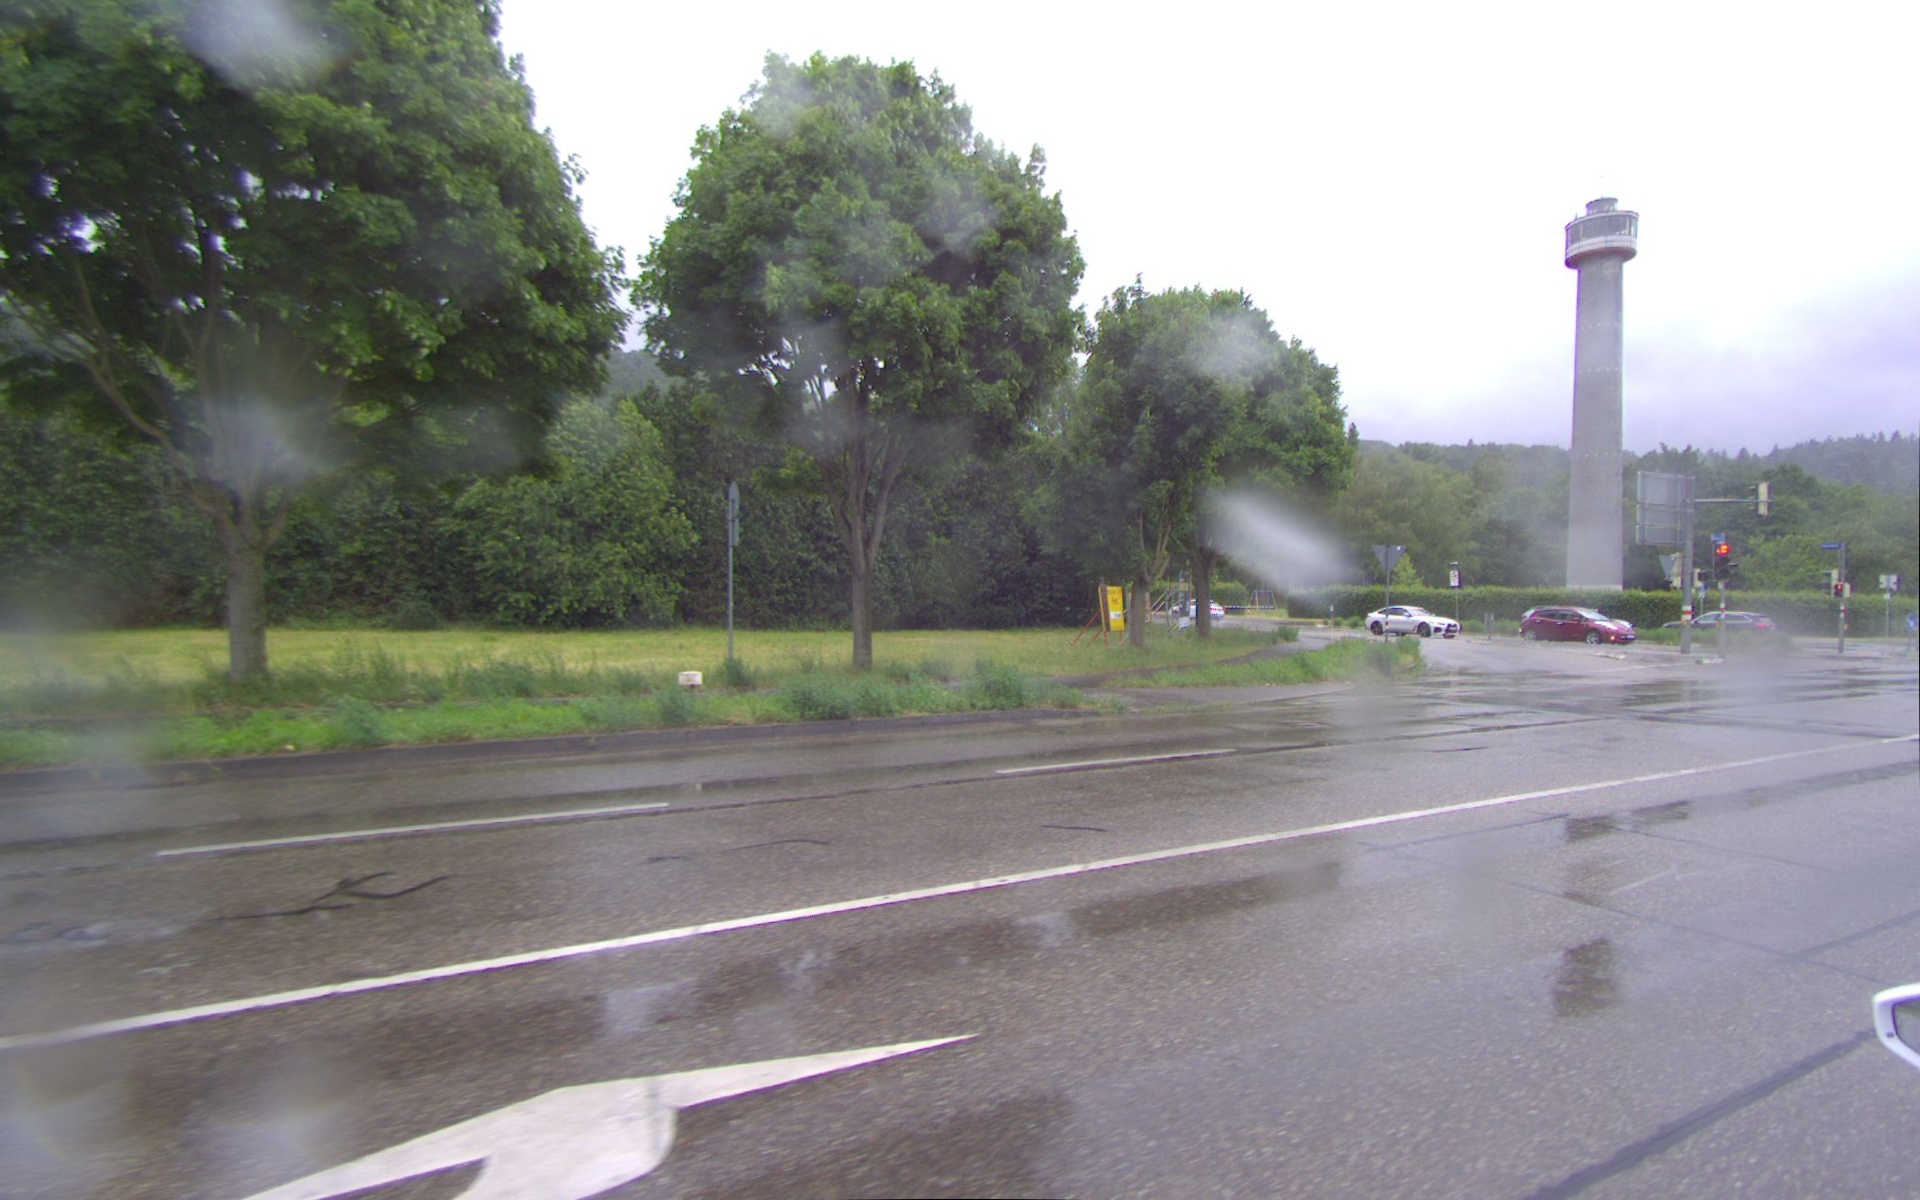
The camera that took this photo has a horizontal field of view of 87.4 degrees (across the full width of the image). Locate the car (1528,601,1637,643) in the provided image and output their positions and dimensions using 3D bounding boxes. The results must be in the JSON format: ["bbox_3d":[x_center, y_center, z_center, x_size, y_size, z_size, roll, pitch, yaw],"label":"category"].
[{"bbox_3d":[27.462,0.949,44.424,1.720,1.734,3.793,1,0,-22],"label":"car"}]

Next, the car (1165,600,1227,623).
[{"bbox_3d":[17.830,0.847,75.979,1.720,1.601,4.334,0,1,-43],"label":"car"}]

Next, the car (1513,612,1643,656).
[{"bbox_3d":[25.209,1.334,41.131,1.707,1.601,4.365,0,1,-22],"label":"car"}]

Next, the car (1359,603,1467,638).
[{"bbox_3d":[21.880,0.954,48.750,1.774,1.574,4.869,0,0,-24],"label":"car"}]

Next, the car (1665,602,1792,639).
[{"bbox_3d":[37.088,0.944,48.556,1.808,1.661,4.628,0,0,-41],"label":"car"}]
